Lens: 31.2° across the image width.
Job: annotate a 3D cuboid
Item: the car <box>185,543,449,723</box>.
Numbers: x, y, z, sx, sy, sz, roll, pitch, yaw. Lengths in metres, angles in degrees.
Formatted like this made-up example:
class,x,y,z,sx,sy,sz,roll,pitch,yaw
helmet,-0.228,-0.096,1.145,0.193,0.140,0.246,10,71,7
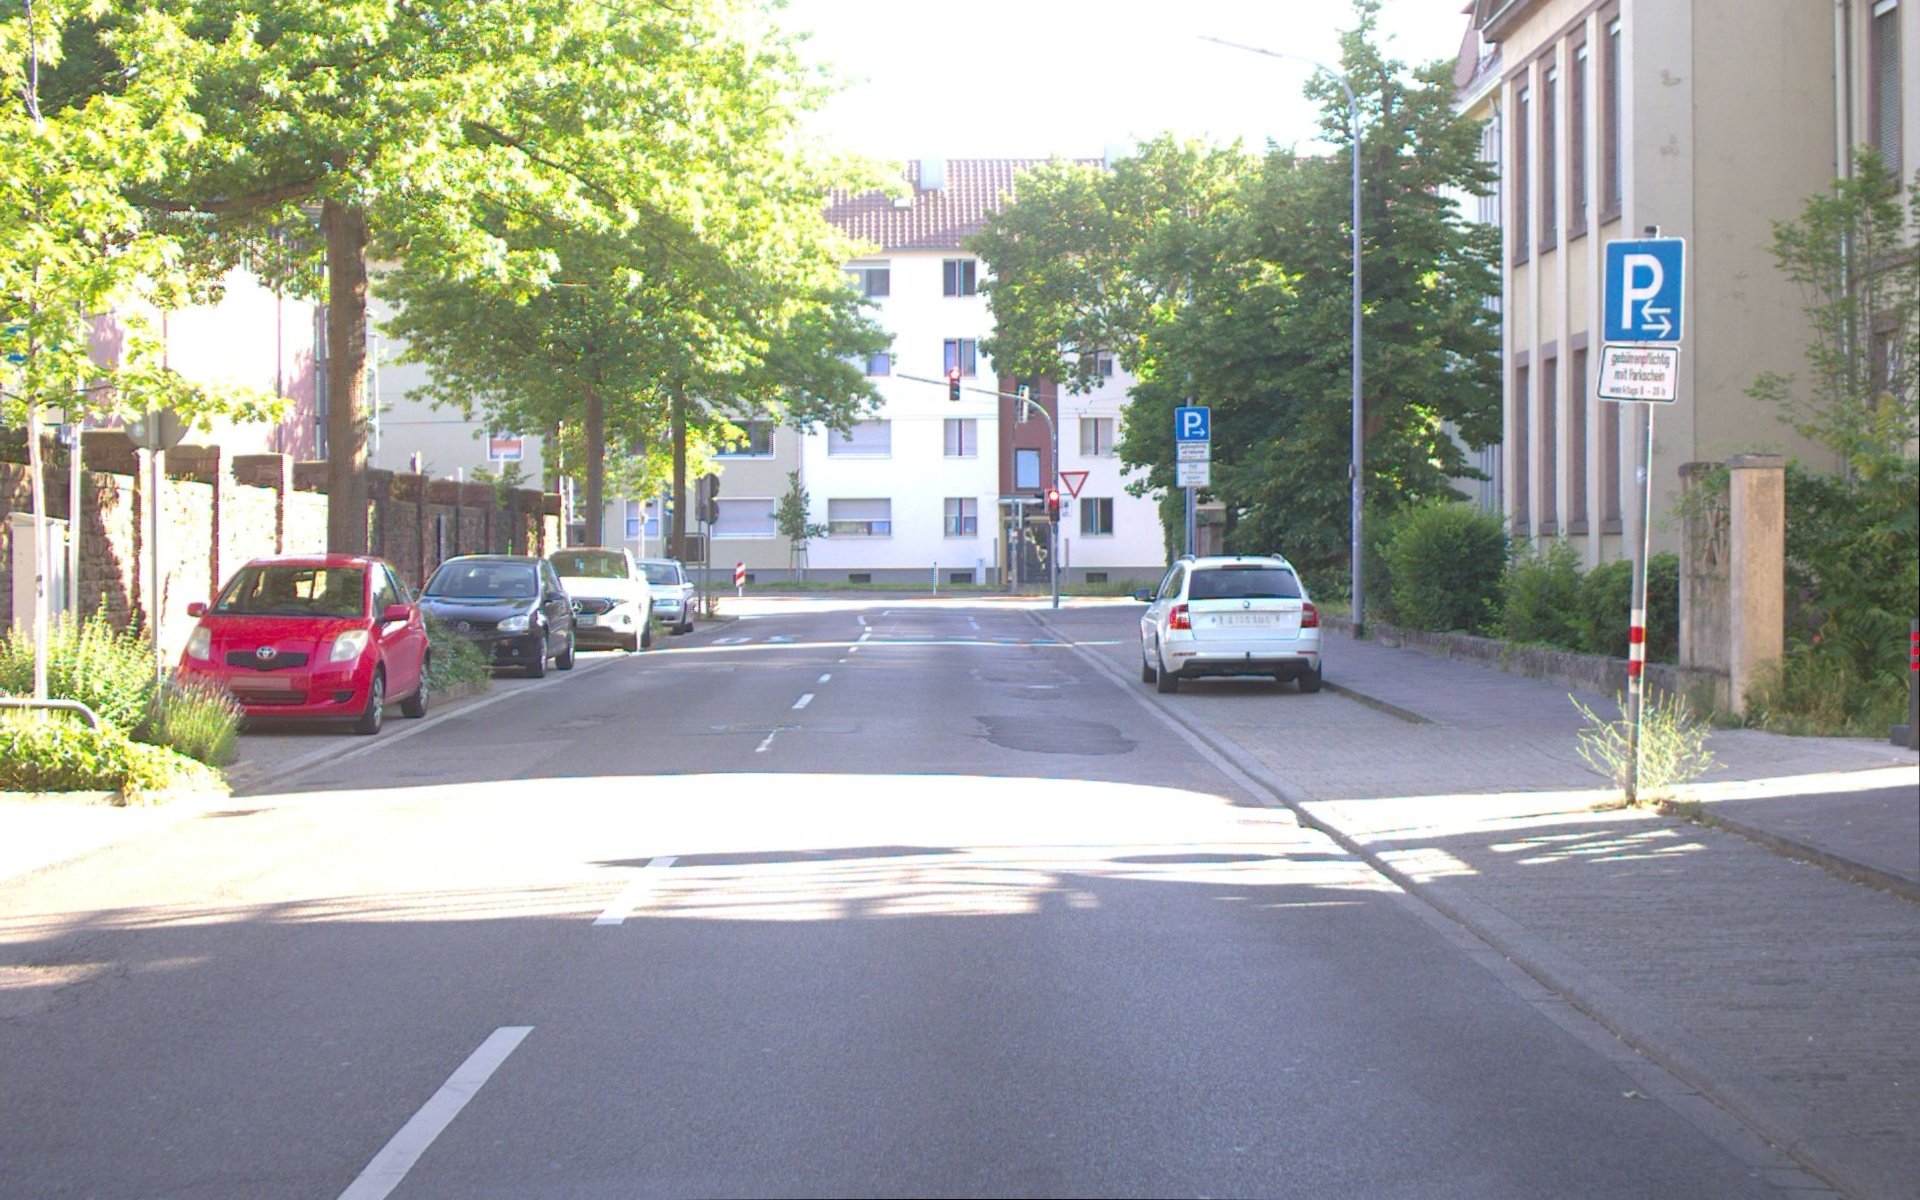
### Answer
class,x,y,z,sx,sy,sz,roll,pitch,yaw
car,-5.624,0.246,30.433,1.609,1.454,3.708,2,1,0

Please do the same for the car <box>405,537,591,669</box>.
class,x,y,z,sx,sy,sz,roll,pitch,yaw
car,-5.807,0.002,43.580,1.737,1.587,4.107,0,1,1

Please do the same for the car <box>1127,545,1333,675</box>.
class,x,y,z,sx,sy,sz,roll,pitch,yaw
car,2.917,0.070,37.979,1.832,1.318,4.496,-1,1,-1

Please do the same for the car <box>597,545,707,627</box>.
class,x,y,z,sx,sy,sz,roll,pitch,yaw
car,-5.927,-0.301,66.542,1.726,1.470,4.478,2,1,-1

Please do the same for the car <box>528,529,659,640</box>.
class,x,y,z,sx,sy,sz,roll,pitch,yaw
car,-5.757,-0.276,54.396,1.720,1.678,4.351,0,1,-2

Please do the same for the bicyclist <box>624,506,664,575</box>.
class,x,y,z,sx,sy,sz,roll,pitch,yaw
bicyclist,-8.051,-1.514,87.623,0.787,1.751,0.612,0,1,-41
